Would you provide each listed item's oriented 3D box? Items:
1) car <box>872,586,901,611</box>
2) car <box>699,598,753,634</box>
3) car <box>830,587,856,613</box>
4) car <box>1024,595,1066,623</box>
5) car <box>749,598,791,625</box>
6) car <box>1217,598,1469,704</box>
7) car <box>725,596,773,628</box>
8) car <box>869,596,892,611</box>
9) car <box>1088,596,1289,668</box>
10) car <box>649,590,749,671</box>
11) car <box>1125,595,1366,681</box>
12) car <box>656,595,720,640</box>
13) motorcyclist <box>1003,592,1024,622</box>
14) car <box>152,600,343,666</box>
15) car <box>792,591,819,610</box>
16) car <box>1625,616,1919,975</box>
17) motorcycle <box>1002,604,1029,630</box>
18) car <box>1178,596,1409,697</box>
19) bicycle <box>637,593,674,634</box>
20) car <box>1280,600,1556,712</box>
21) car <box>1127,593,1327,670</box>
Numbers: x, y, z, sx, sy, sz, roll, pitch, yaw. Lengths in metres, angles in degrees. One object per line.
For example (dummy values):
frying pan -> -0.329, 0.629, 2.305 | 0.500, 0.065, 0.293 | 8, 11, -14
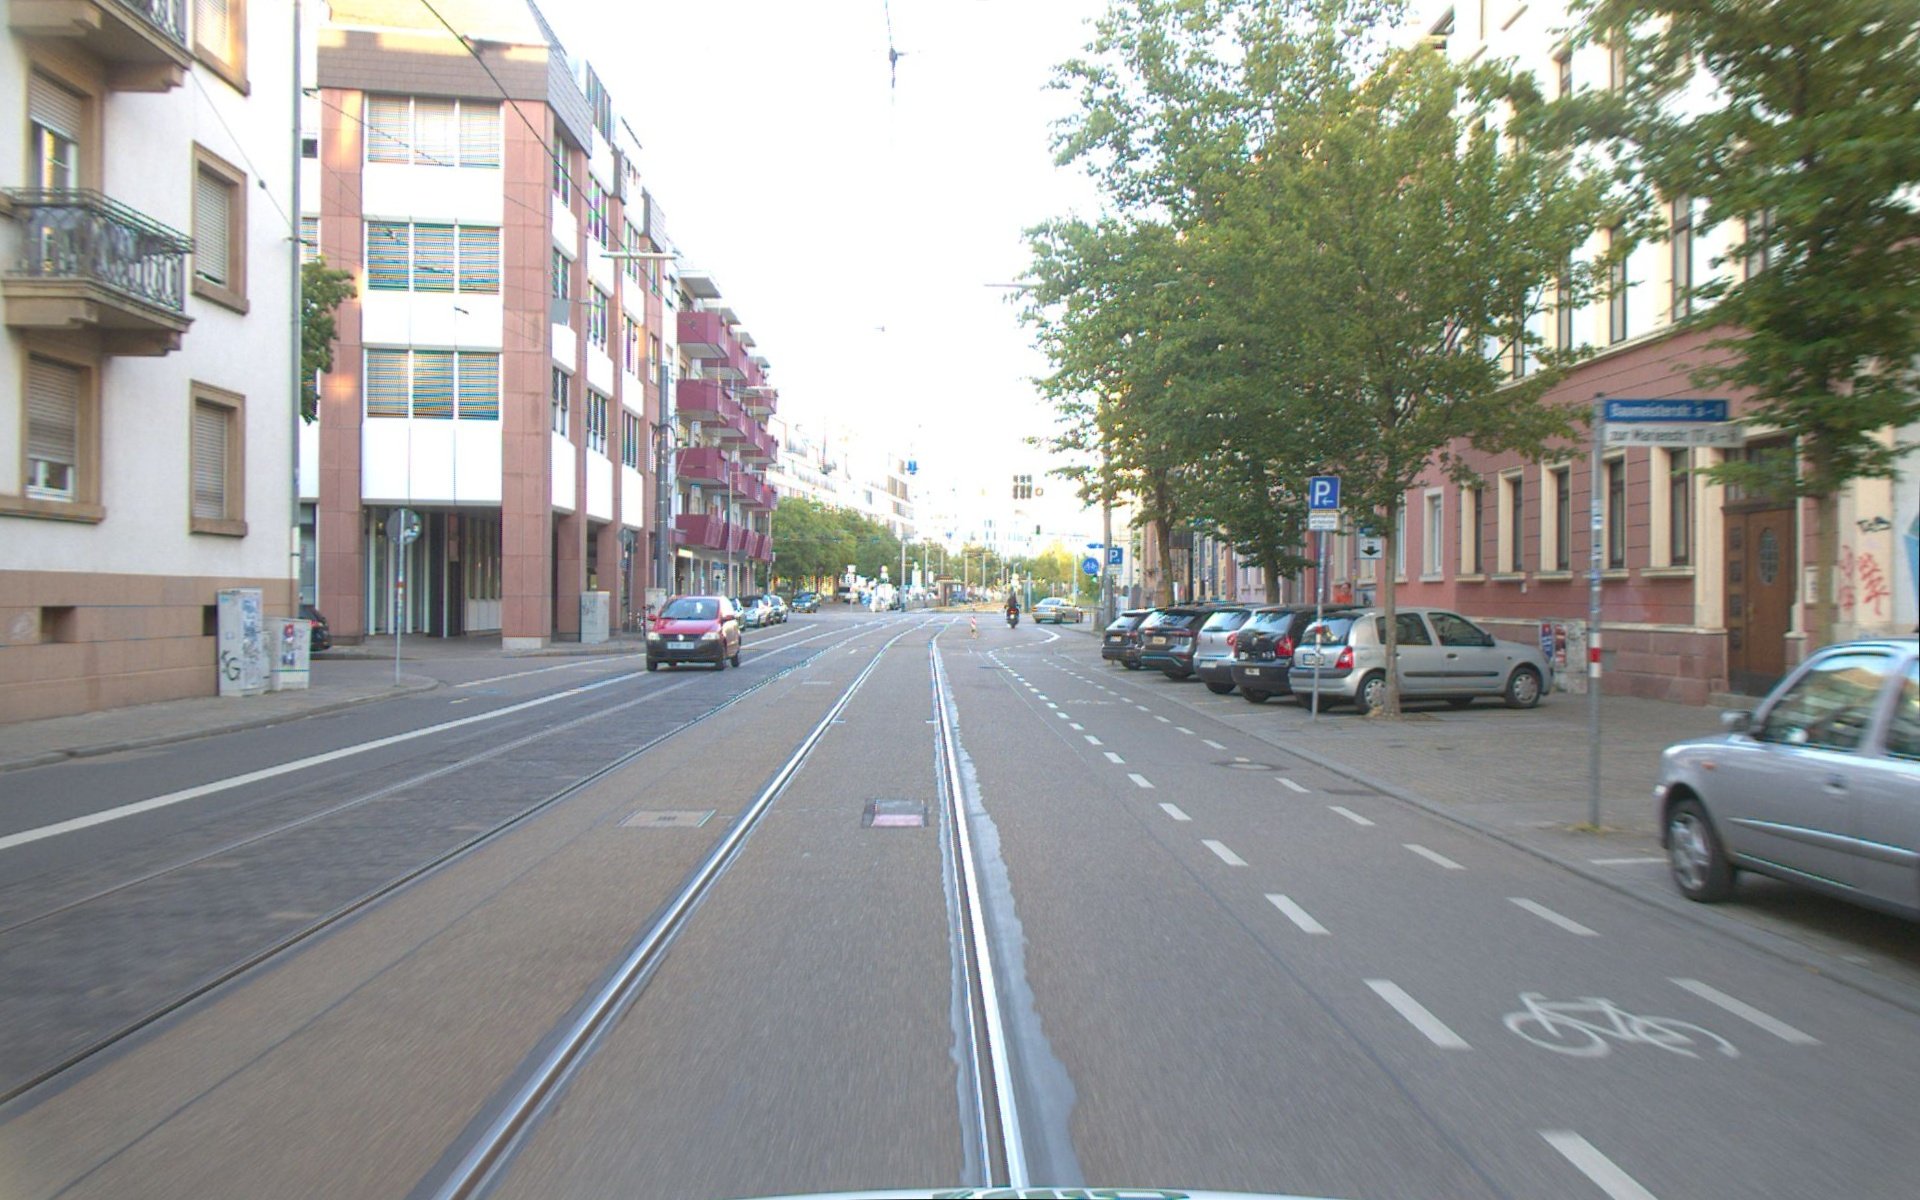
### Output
car -> -7.549, -0.188, 170.235 | 2.409, 2.526, 5.810 | 0, 0, 2
car -> -10.420, 0.689, 74.016 | 1.954, 1.505, 4.479 | 2, 0, -3
car -> -14.575, -0.067, 206.595 | 2.154, 3.207, 6.147 | 0, 0, 7
car -> 5.037, 0.527, 97.604 | 1.680, 1.583, 4.207 | 1, 0, 13
car -> -10.715, 0.632, 93.414 | 1.814, 1.482, 5.085 | 0, 0, -1
car -> 5.840, 0.726, 25.184 | 3.512, 1.454, 1.655 | -1, 0, -27
car -> -10.416, 0.578, 81.805 | 1.656, 1.438, 4.677 | 2, 0, 1
car -> -7.916, 0.316, 164.320 | 1.647, 1.464, 4.129 | 0, 0, 6
car -> 5.404, 0.714, 38.996 | 4.548, 1.482, 1.696 | -2, 1, -26
car -> -5.487, 0.596, 35.106 | 1.527, 1.585, 3.754 | -1, 0, 0
car -> 5.701, 0.716, 33.040 | 4.387, 1.543, 2.048 | -1, 0, -25
car -> -10.136, 0.634, 61.898 | 1.682, 1.583, 4.203 | 2, 0, -1
motorcyclist -> 2.731, 0.339, 83.865 | 0.813, 1.499, 1.203 | 0, 0, -12
car -> -17.409, 0.814, 40.561 | 3.913, 1.531, 1.920 | 0, -2, -9
car -> -14.378, 0.011, 154.244 | 1.647, 1.729, 4.242 | 0, 0, 8
car -> 4.730, 0.824, 7.778 | 1.586, 1.405, 3.775 | -2, 0, -1
motorcycle -> 2.779, 0.849, 83.636 | 0.813, 1.261, 2.484 | 0, 0, -12
car -> 5.618, 0.740, 27.853 | 3.512, 1.543, 1.729 | -1, 0, -27
bicycle -> -10.457, 0.451, 56.896 | 0.595, 1.402, 2.260 | 0, 0, 6
car -> 6.382, 0.761, 23.085 | 3.431, 1.454, 1.611 | 0, -2, -21
car -> 5.770, 0.666, 35.750 | 3.938, 1.518, 1.815 | -1, -1, -26
